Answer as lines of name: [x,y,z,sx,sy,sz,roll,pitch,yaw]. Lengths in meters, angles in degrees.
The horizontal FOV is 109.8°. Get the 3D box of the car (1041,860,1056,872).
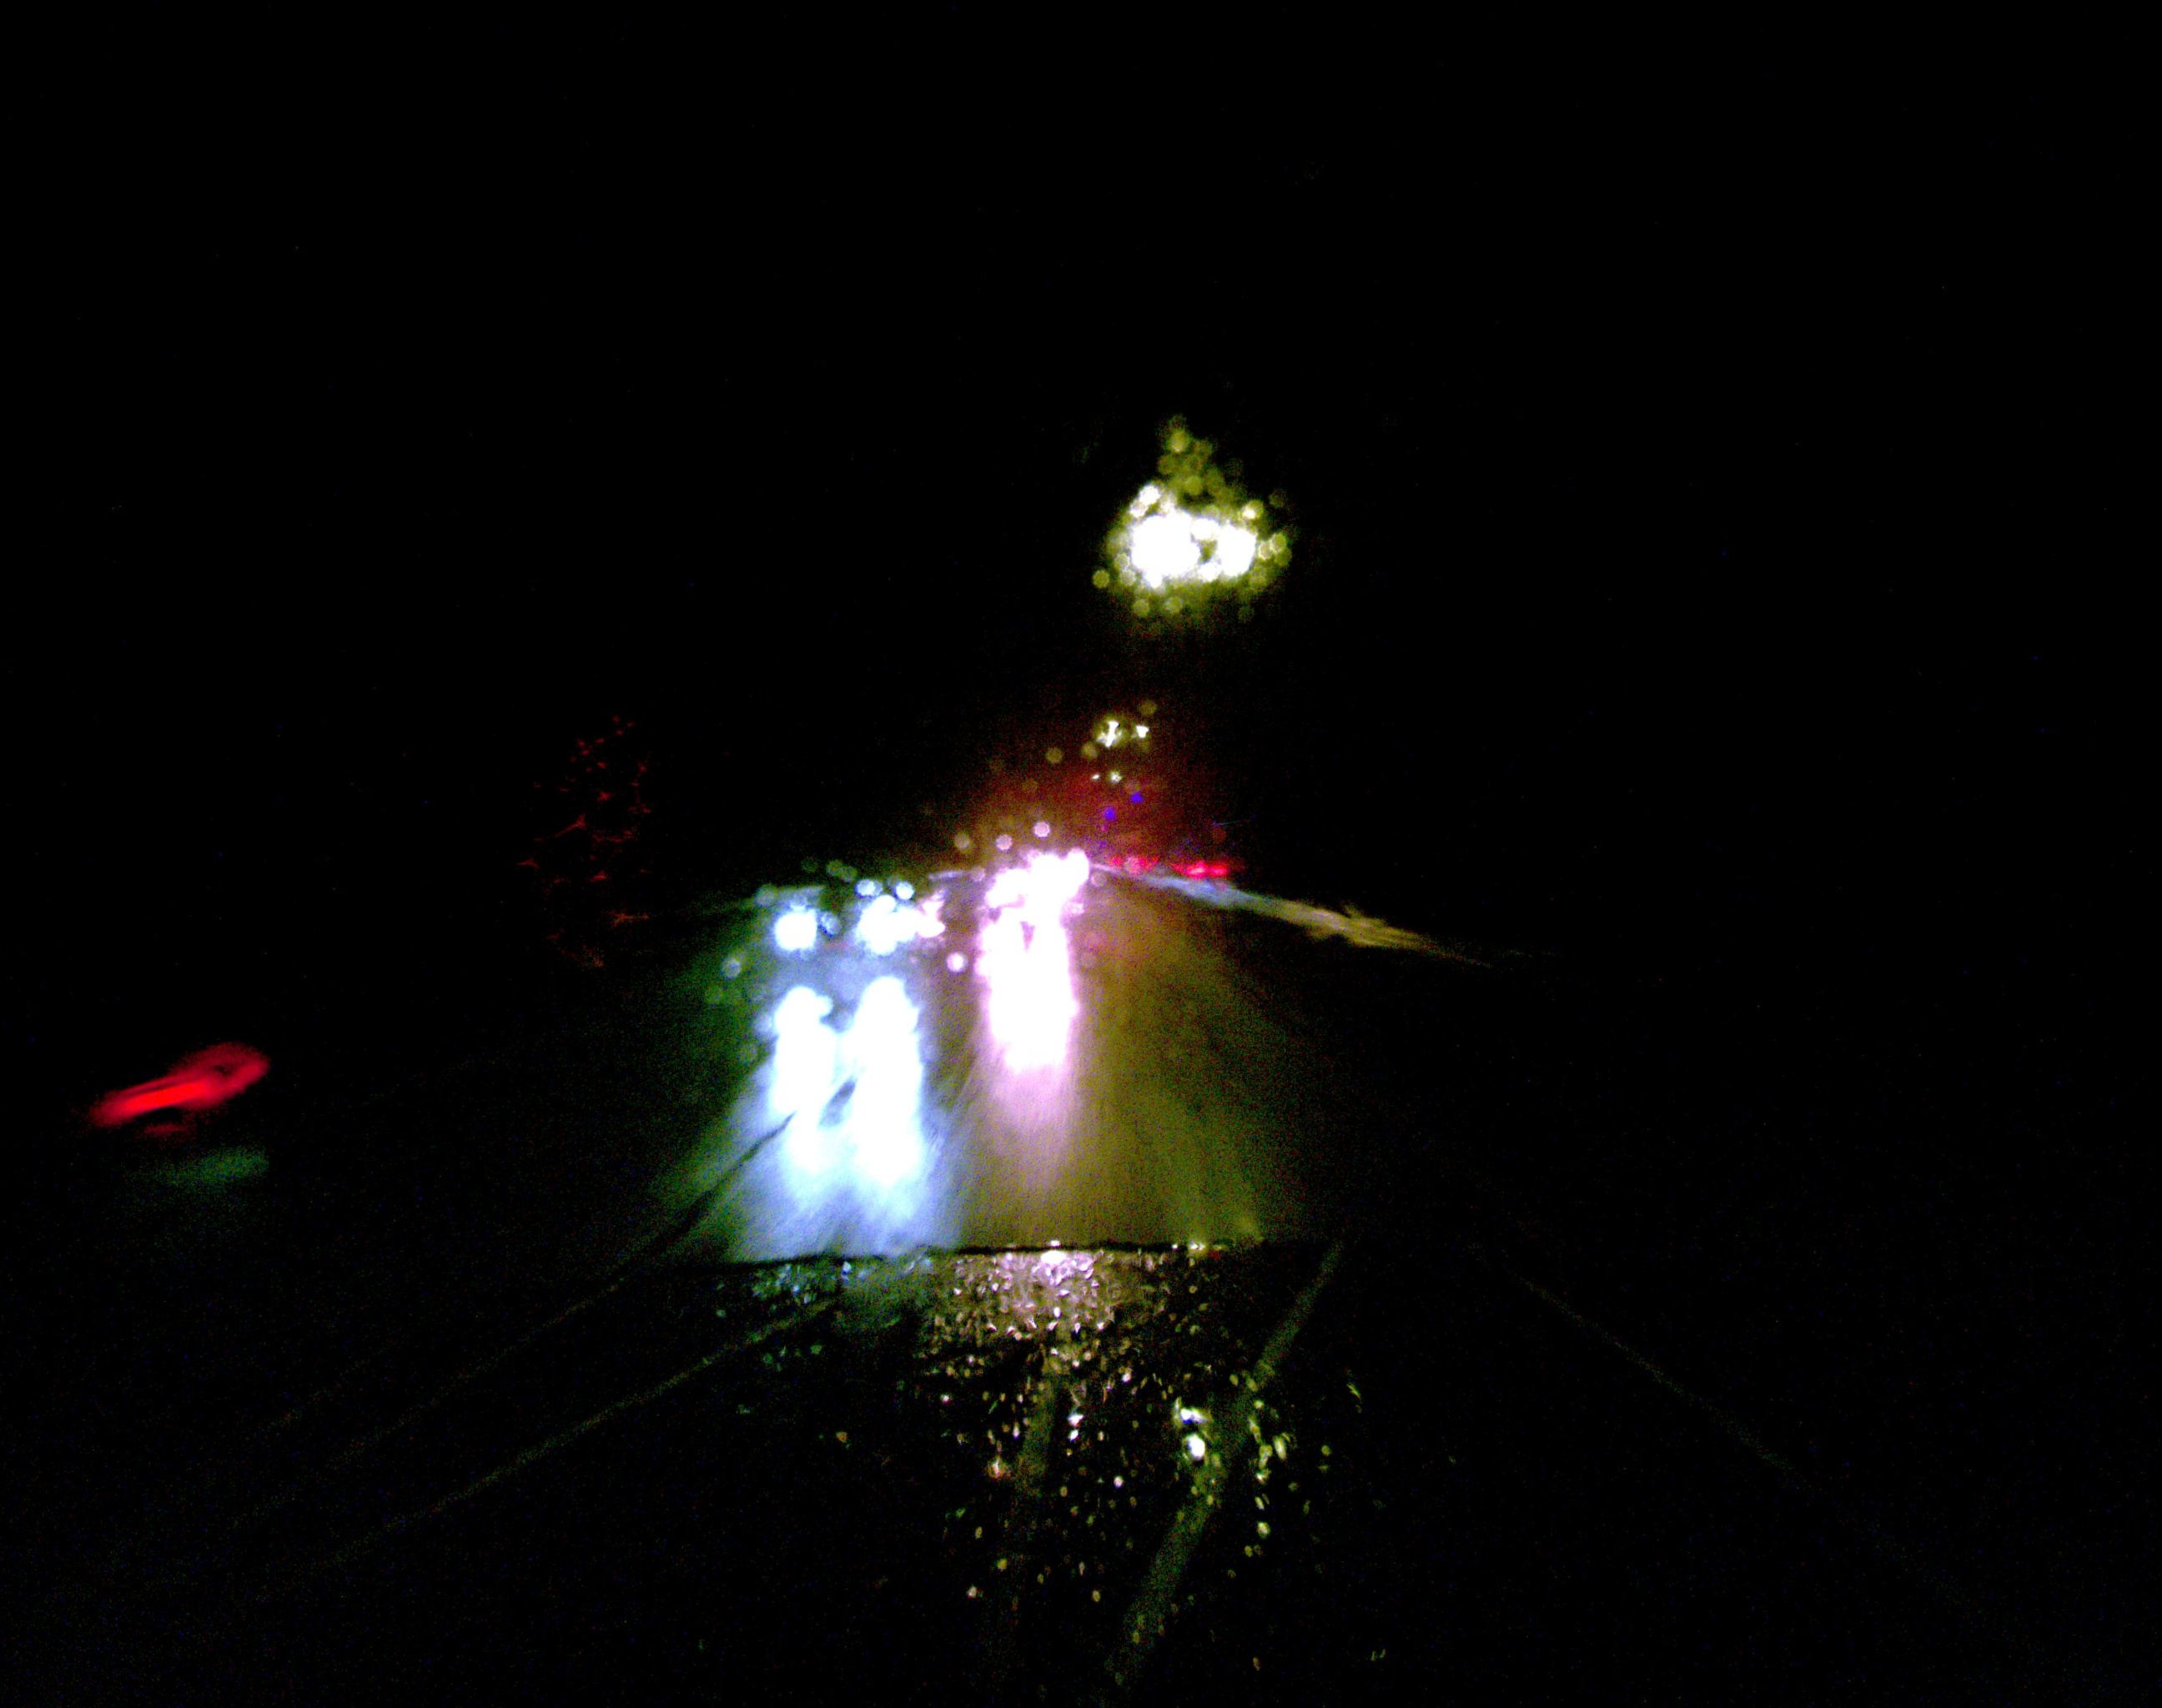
car: [-4.605,1.705,107.933,1.999,1.657,3.999,0,0,-1]

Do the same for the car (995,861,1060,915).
car: [-1.603,1.013,23.999,1.764,1.492,4.000,-2,0,0]

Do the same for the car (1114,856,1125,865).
car: [7.210,1.231,143.212,1.756,1.543,4.009,-1,0,-1]

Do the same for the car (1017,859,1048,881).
car: [-3.584,1.170,56.913,1.999,1.531,4.000,-1,0,0]

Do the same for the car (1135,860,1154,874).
car: [6.861,1.397,82.850,1.615,1.373,4.746,-1,0,0]

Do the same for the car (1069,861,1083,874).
car: [-0.740,2.013,116.479,1.999,1.774,3.999,-2,1,-1]

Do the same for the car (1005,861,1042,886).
car: [-3.538,1.189,47.223,1.999,1.455,4.000,-1,0,0]

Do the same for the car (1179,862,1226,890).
car: [6.841,1.231,43.299,1.861,1.467,4.778,0,0,-1]

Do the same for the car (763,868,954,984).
car: [-3.433,1.035,12.714,1.826,1.476,4.567,-1,0,0]

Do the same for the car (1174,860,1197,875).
car: [10.170,1.283,74.006,1.614,1.373,4.164,1,0,0]
